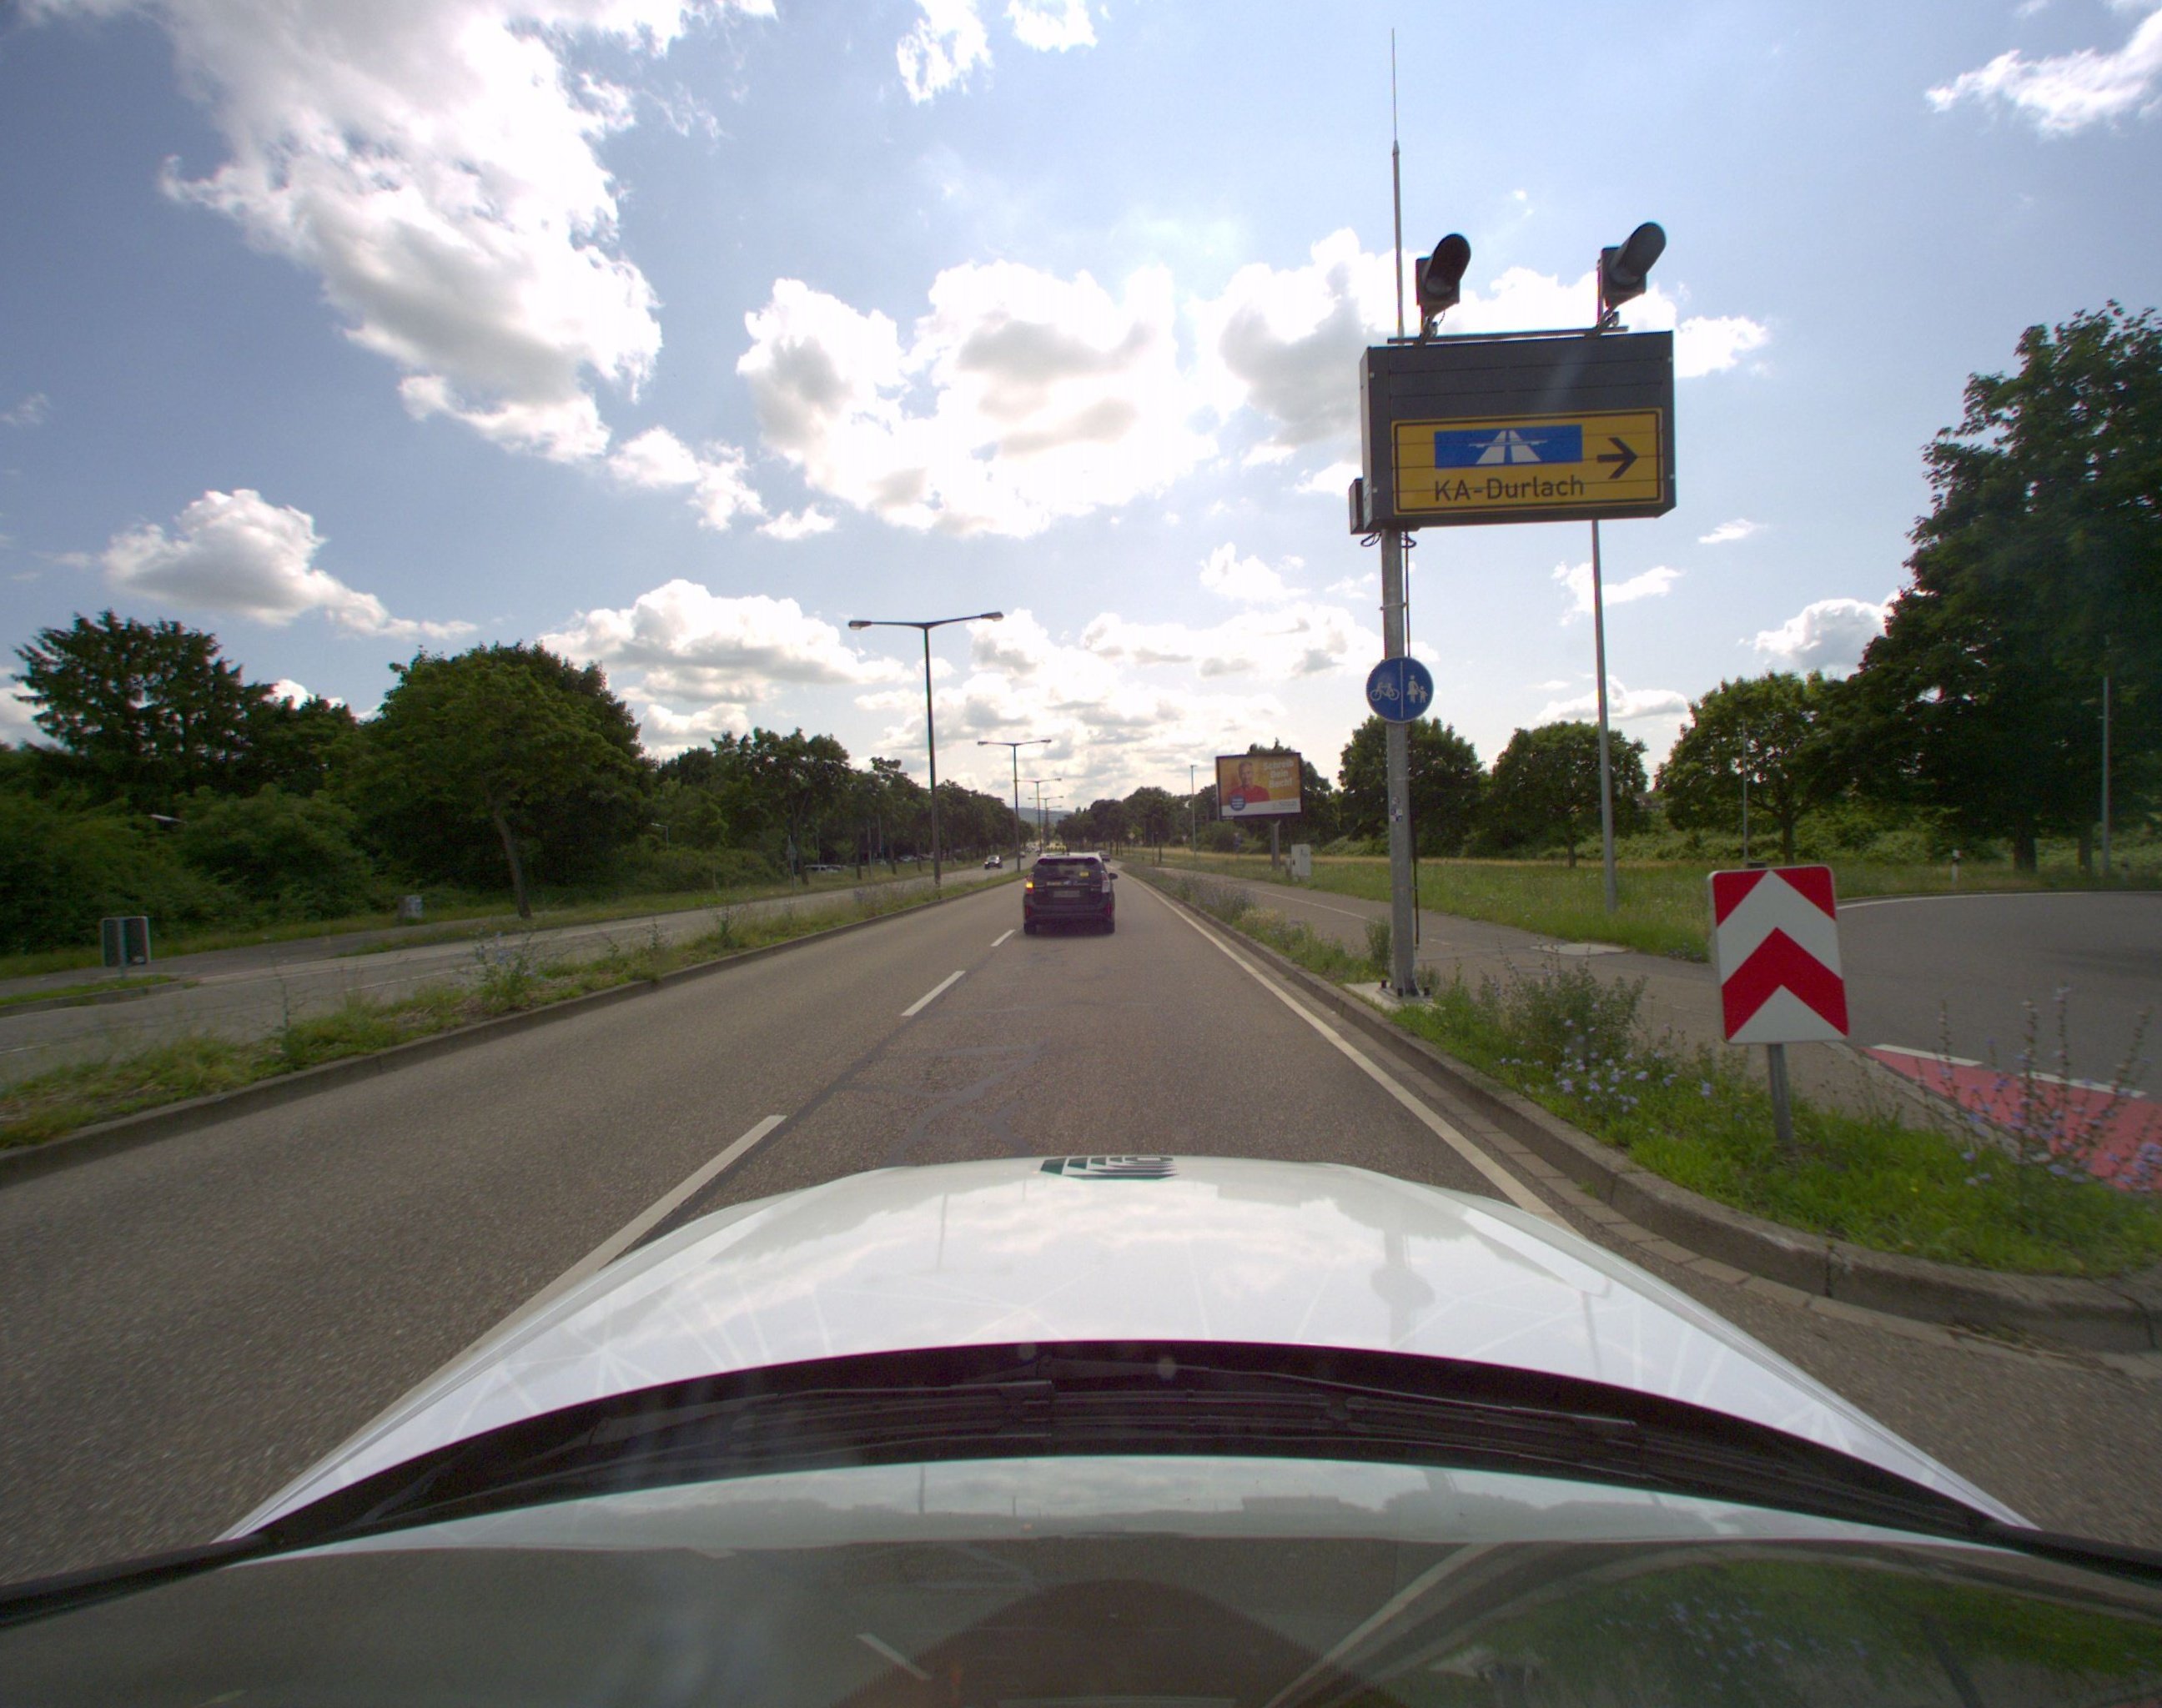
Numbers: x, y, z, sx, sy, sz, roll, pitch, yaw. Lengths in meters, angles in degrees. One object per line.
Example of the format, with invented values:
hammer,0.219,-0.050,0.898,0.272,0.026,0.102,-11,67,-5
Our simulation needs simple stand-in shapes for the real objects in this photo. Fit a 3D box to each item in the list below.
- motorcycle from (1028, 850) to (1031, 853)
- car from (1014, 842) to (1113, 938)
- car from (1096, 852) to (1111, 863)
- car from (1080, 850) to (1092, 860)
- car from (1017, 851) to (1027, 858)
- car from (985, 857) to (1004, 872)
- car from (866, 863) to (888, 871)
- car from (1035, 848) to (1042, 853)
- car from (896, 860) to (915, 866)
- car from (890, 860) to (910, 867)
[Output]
motorcycle,-15.407,-0.831,242.112,0.749,0.772,2.670,-1,1,-1
car,-0.361,0.627,16.761,1.774,1.683,3.998,-1,1,-2
car,3.409,0.495,123.906,1.989,1.508,3.995,-1,1,-3
car,0.867,0.170,136.793,1.988,1.662,3.999,-1,1,-1
car,-12.828,0.214,177.683,1.701,1.427,3.662,-2,0,-10
car,-11.152,1.344,105.273,1.871,1.790,4.726,-4,0,-1
car,-39.228,2.438,156.813,3.775,1.428,1.784,-1,1,-3
car,-12.950,-0.952,246.941,1.806,1.398,4.731,-2,1,-2
car,-39.698,2.038,184.286,3.770,1.387,1.786,-1,1,1
car,-40.072,2.092,180.330,3.770,1.387,1.786,-1,1,1
